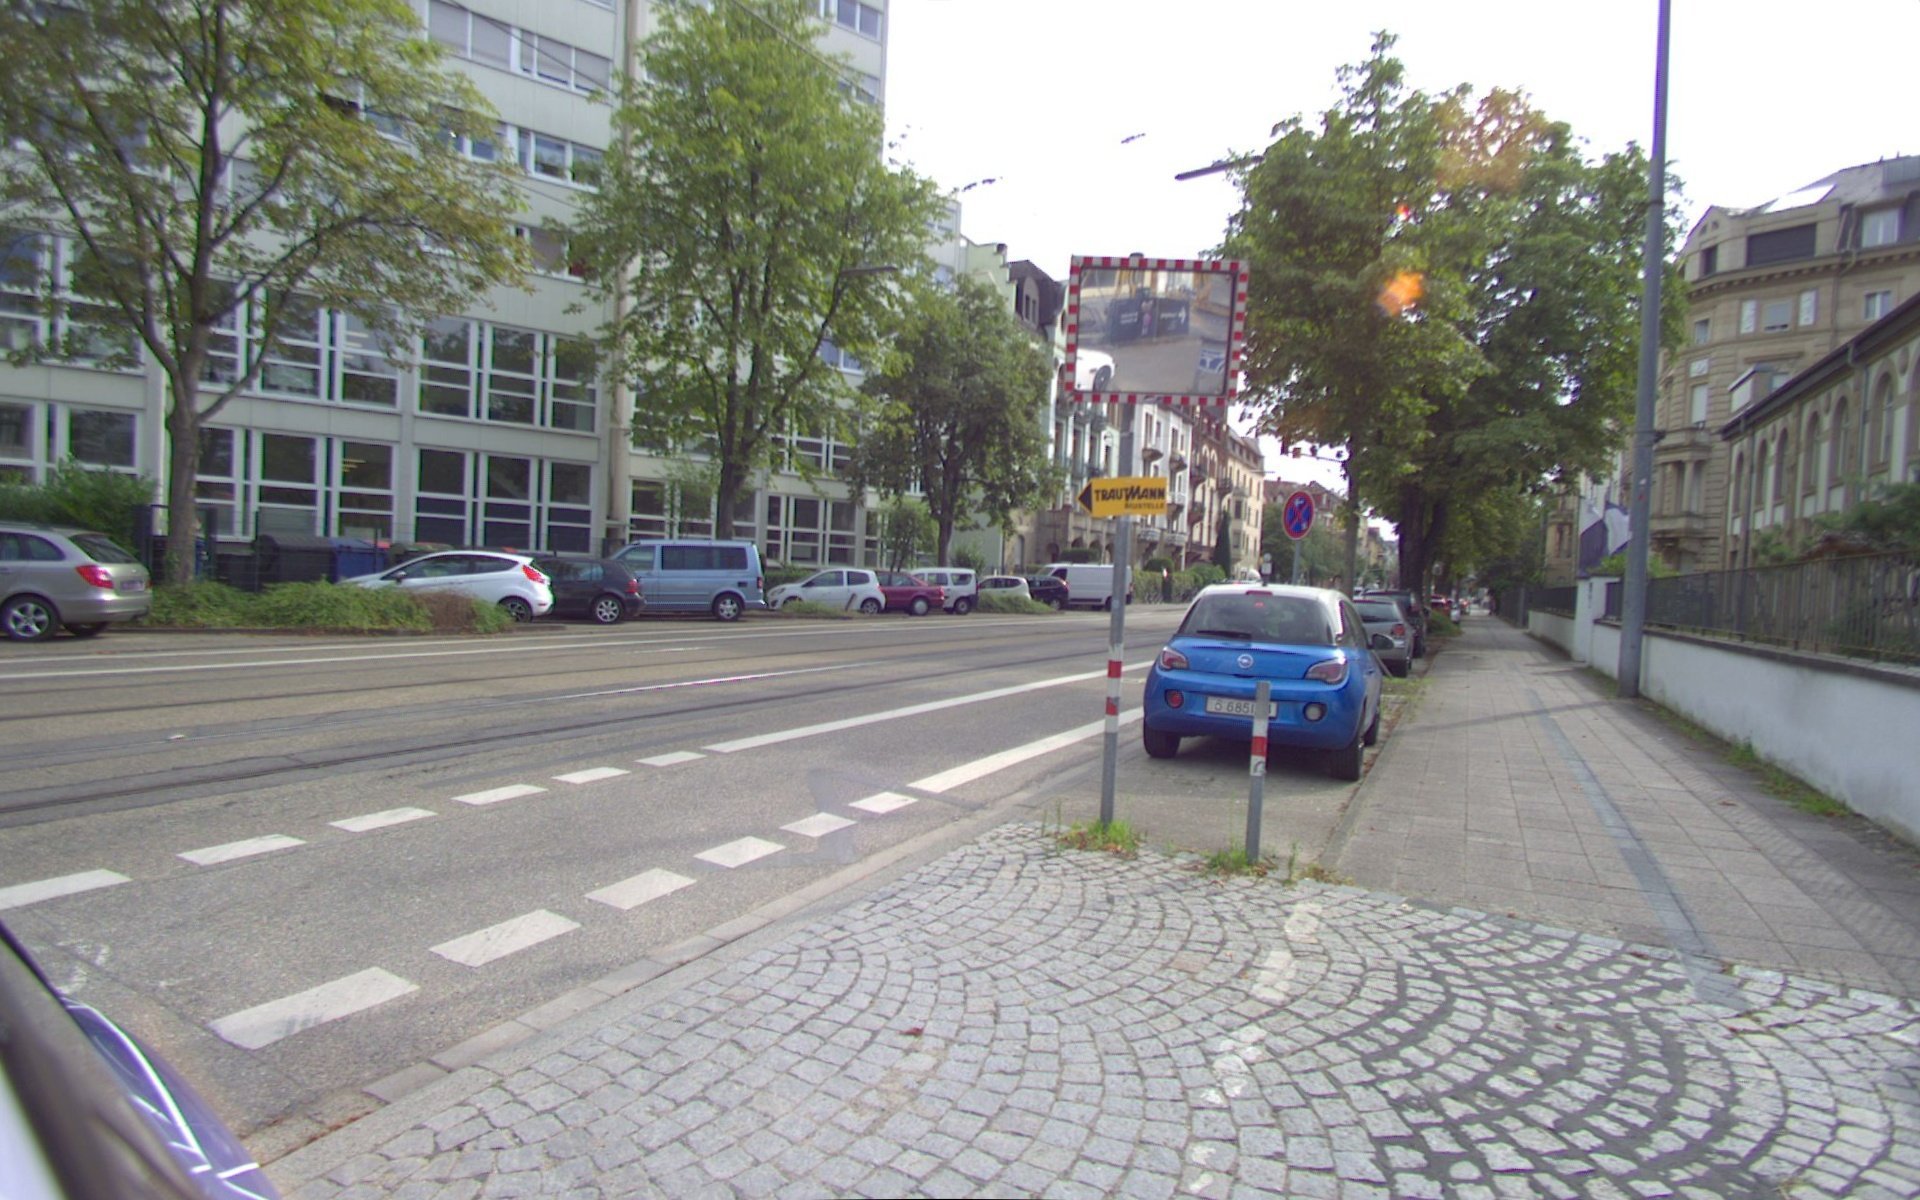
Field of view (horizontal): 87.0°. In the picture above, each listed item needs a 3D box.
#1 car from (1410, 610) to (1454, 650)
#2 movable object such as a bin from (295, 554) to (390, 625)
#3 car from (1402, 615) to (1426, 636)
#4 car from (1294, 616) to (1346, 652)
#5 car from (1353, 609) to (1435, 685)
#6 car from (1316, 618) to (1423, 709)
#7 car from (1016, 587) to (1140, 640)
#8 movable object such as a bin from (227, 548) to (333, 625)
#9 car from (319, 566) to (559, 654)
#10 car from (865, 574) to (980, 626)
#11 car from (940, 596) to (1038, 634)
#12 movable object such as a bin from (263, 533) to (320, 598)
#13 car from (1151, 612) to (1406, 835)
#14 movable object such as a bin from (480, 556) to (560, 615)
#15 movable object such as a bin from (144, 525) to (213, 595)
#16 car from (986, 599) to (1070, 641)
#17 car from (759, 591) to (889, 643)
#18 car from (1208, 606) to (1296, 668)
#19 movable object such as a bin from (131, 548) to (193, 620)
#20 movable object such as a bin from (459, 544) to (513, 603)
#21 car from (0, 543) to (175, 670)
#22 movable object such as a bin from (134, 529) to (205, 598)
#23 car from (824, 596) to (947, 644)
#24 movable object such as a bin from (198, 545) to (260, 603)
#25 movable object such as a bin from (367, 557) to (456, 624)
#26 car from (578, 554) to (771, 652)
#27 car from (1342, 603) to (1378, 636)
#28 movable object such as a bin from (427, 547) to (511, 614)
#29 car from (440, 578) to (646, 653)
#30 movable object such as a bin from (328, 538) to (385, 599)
[{"bbox_3d":[21.207,1.322,45.455,1.651,1.646,3.872,3,0,26],"label":"car"},{"bbox_3d":[-14.035,-0.233,23.012,1.331,1.515,1.324,3,0,31],"label":"movable object such as a bin"},{"bbox_3d":[41.779,2.332,93.025,1.792,1.837,4.637,3,0,26],"label":"car"},{"bbox_3d":[17.232,1.593,48.325,1.729,1.507,4.338,4,1,27],"label":"car"},{"bbox_3d":[10.941,1.122,25.393,1.651,1.646,3.692,3,0,26],"label":"car"},{"bbox_3d":[7.987,1.148,19.567,1.625,1.475,3.542,3,0,26],"label":"car"},{"bbox_3d":[5.624,0.628,48.473,5.347,2.192,2.155,3,1,-14],"label":"car"},{"bbox_3d":[-14.543,-0.288,21.665,1.326,1.541,1.401,3,0,31],"label":"movable object such as a bin"},{"bbox_3d":[-9.689,0.186,19.140,3.795,1.403,1.639,3,0,-19],"label":"car"},{"bbox_3d":[-1.373,-0.011,36.039,3.707,1.630,1.820,3,1,-15],"label":"car"},{"bbox_3d":[1.197,0.627,42.076,3.582,1.340,1.773,3,1,-19],"label":"car"},{"bbox_3d":[-17.280,-0.898,26.149,1.155,1.580,1.183,3,0,-35],"label":"movable object such as a bin"},{"bbox_3d":[3.018,0.907,9.088,1.625,1.475,3.570,3,0,26],"label":"car"},{"bbox_3d":[-11.715,-0.387,26.972,1.331,1.469,1.385,3,0,31],"label":"movable object such as a bin"},{"bbox_3d":[-18.764,-0.944,24.300,1.162,1.580,1.176,3,0,-42],"label":"movable object such as a bin"},{"bbox_3d":[3.018,0.881,45.467,3.595,1.601,1.767,3,1,1],"label":"car"},{"bbox_3d":[-4.138,0.512,30.664,3.582,1.340,1.773,3,1,-19],"label":"car"},{"bbox_3d":[9.177,1.117,31.550,1.730,1.640,4.337,5,1,27],"label":"car"},{"bbox_3d":[-16.522,-0.344,20.941,0.898,1.417,1.026,3,0,-42],"label":"movable object such as a bin"},{"bbox_3d":[-13.460,-0.751,28.738,1.155,1.580,1.183,3,0,-35],"label":"movable object such as a bin"},{"bbox_3d":[-12.928,0.015,13.124,3.983,1.549,1.601,3,0,-19],"label":"car"},{"bbox_3d":[-17.227,-0.789,22.061,1.101,1.402,1.065,3,0,-42],"label":"movable object such as a bin"},{"bbox_3d":[-2.481,0.655,33.437,3.707,1.348,1.820,3,1,-15],"label":"car"},{"bbox_3d":[-14.785,-0.526,20.474,0.784,1.113,0.735,3,0,33],"label":"movable object such as a bin"},{"bbox_3d":[-13.177,-0.222,24.349,1.331,1.513,1.340,3,0,31],"label":"movable object such as a bin"},{"bbox_3d":[-6.975,0.081,24.757,4.271,2.079,2.007,3,0,-19],"label":"car"},{"bbox_3d":[25.004,1.205,63.200,1.728,1.898,4.341,3,0,25],"label":"car"},{"bbox_3d":[-12.418,-0.482,25.608,1.331,1.608,1.340,3,0,31],"label":"movable object such as a bin"},{"bbox_3d":[-8.904,0.352,21.892,3.904,1.397,1.820,3,-1,-19],"label":"car"},{"bbox_3d":[-16.022,-0.832,26.855,1.155,1.525,1.183,3,0,-35],"label":"movable object such as a bin"}]
